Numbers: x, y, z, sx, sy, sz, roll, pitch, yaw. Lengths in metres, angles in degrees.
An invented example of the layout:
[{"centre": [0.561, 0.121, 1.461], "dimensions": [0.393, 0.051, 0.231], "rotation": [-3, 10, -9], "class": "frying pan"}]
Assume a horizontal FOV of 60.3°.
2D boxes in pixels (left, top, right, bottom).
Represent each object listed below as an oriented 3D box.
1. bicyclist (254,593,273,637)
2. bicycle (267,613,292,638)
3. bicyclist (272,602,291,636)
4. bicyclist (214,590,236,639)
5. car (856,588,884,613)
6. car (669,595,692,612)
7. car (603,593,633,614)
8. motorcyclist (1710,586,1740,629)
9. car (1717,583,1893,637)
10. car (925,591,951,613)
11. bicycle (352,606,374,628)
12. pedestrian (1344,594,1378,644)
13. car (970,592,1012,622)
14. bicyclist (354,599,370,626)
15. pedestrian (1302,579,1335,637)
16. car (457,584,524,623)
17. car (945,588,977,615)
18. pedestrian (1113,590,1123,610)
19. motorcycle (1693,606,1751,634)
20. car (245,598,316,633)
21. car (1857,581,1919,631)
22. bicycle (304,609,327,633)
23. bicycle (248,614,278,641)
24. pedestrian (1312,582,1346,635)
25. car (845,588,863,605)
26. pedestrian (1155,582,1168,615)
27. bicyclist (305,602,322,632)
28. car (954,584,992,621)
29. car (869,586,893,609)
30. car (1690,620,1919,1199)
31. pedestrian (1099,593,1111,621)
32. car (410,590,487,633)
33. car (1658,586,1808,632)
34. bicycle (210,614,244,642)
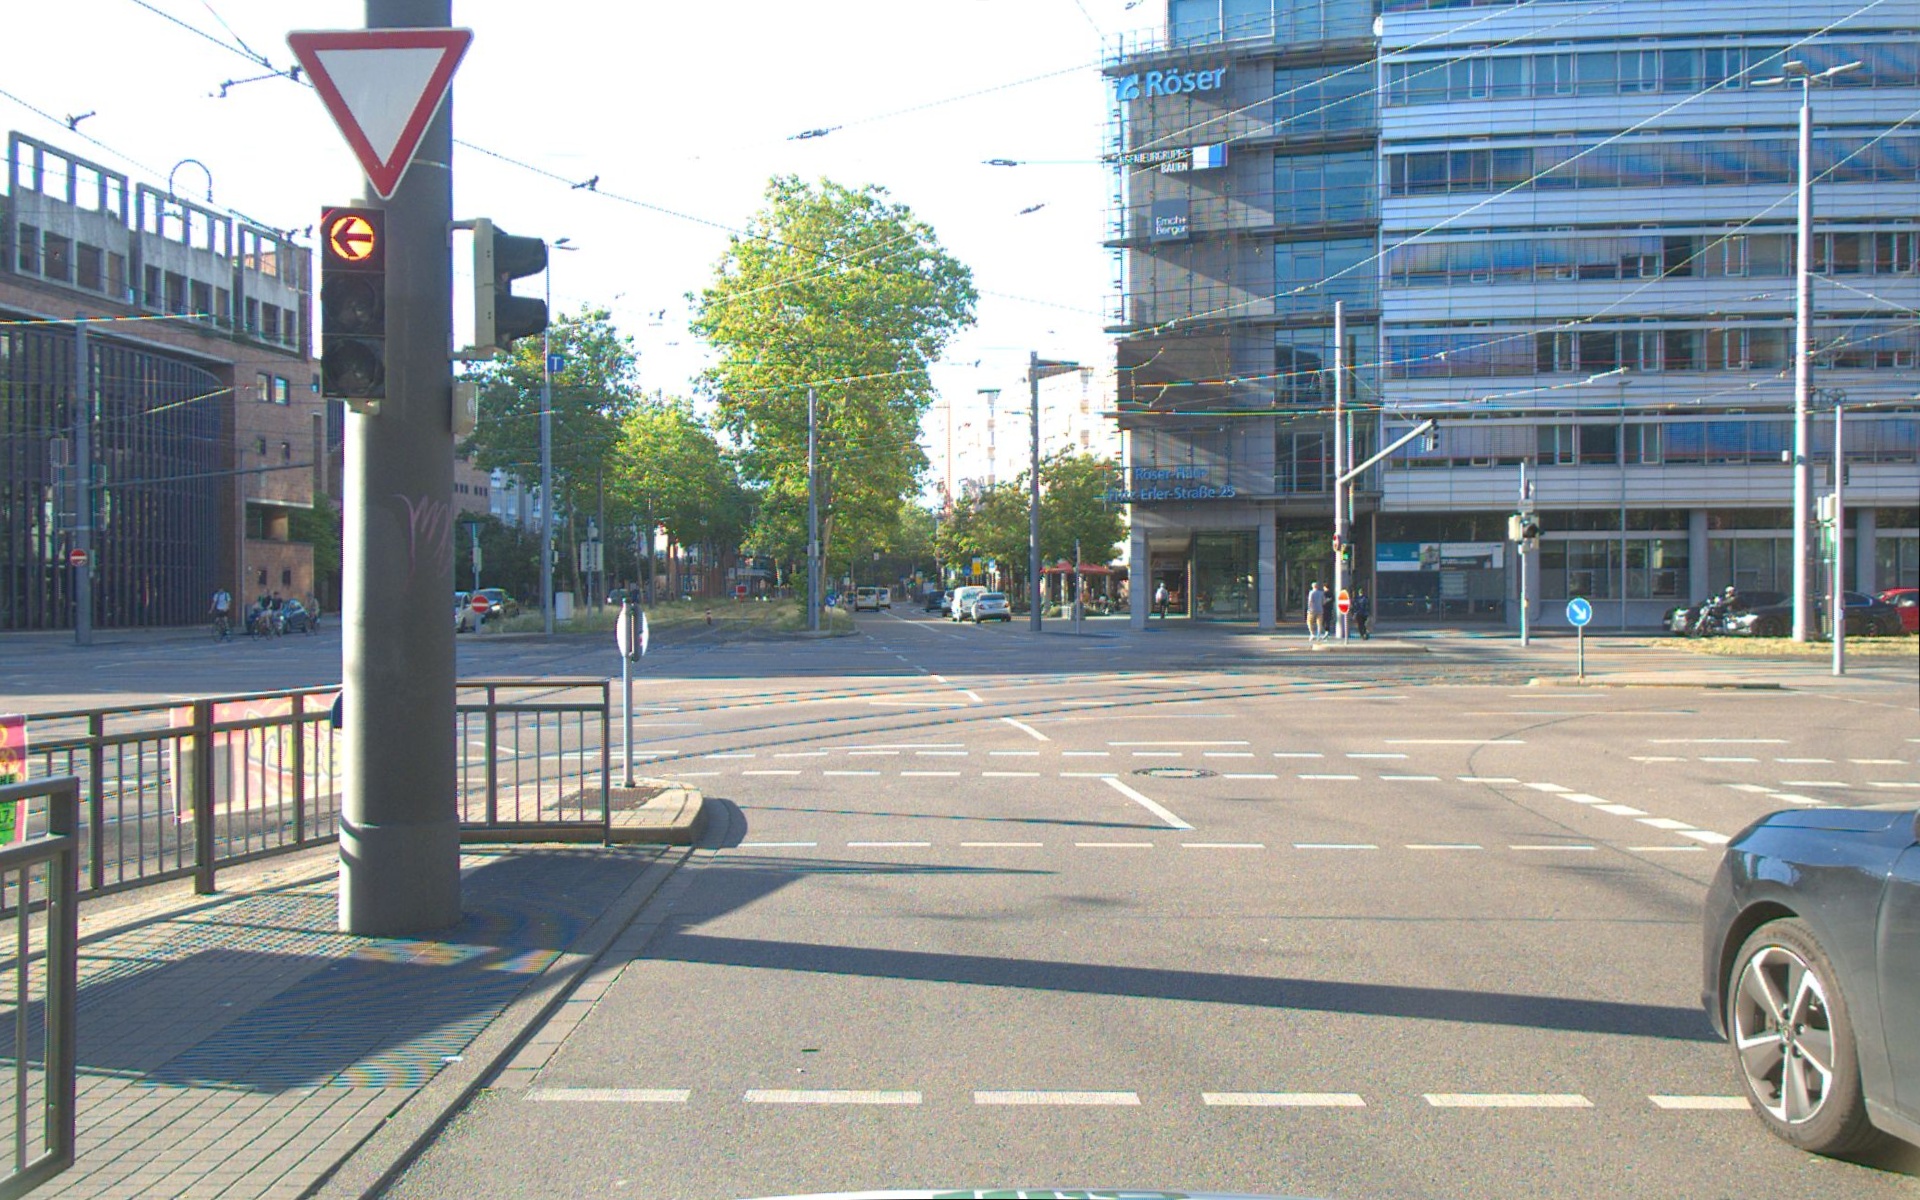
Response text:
[{"centre": [-25.809, 0.547, 61.328], "dimensions": [0.449, 1.631, 0.581], "rotation": [-1, 0, -1], "class": "bicyclist"}, {"centre": [-27.347, 1.028, 66.504], "dimensions": [0.458, 0.980, 1.320], "rotation": [-1, 0, -1], "class": "bicycle"}, {"centre": [-27.322, 0.762, 66.590], "dimensions": [0.495, 1.327, 0.581], "rotation": [-1, 0, -1], "class": "bicyclist"}, {"centre": [-26.873, 0.520, 60.463], "dimensions": [0.525, 1.761, 0.581], "rotation": [-1, 0, -1], "class": "bicyclist"}, {"centre": [-6.970, 0.012, 129.092], "dimensions": [1.921, 1.881, 5.329], "rotation": [-1, 0, -1], "class": "car"}, {"centre": [-31.289, 0.423, 185.472], "dimensions": [1.953, 1.847, 3.999], "rotation": [-1, 0, -1], "class": "car"}, {"centre": [-30.610, 0.308, 148.167], "dimensions": [1.953, 1.847, 3.999], "rotation": [-1, 0, -1], "class": "car"}, {"centre": [23.036, 0.226, 49.811], "dimensions": [0.697, 1.298, 0.460], "rotation": [-1, 0, 3], "class": "motorcyclist"}, {"centre": [23.991, 0.274, 47.069], "dimensions": [4.070, 1.423, 1.786], "rotation": [-1, 0, 4], "class": "car"}, {"centre": [-1.681, 0.133, 126.629], "dimensions": [1.953, 1.646, 3.999], "rotation": [-1, 0, -1], "class": "car"}, {"centre": [-27.585, 0.767, 76.379], "dimensions": [0.482, 0.980, 1.486], "rotation": [-1, 0, -1], "class": "bicycle"}, {"centre": [13.090, 0.607, 54.029], "dimensions": [0.928, 1.591, 0.897], "rotation": [-1, 0, 6], "class": "pedestrian"}, {"centre": [1.536, 0.337, 82.784], "dimensions": [1.953, 1.400, 3.999], "rotation": [-1, 0, -1], "class": "car"}, {"centre": [-27.555, 0.554, 76.212], "dimensions": [0.495, 1.232, 0.581], "rotation": [-1, 0, -1], "class": "bicyclist"}, {"centre": [11.458, 0.248, 52.843], "dimensions": [0.846, 1.820, 0.871], "rotation": [-1, 0, 0], "class": "pedestrian"}, {"centre": [-21.121, 0.148, 74.589], "dimensions": [1.953, 1.668, 3.999], "rotation": [-1, 0, -2], "class": "car"}, {"centre": [0.035, 0.072, 105.206], "dimensions": [1.953, 1.646, 3.999], "rotation": [-1, 0, -1], "class": "car"}, {"centre": [10.511, -0.013, 110.209], "dimensions": [0.565, 1.311, 0.910], "rotation": [-1, 0, -1], "class": "pedestrian"}, {"centre": [22.940, 0.606, 49.806], "dimensions": [1.535, 0.824, 0.467], "rotation": [-1, 0, 3], "class": "motorcycle"}, {"centre": [-30.309, 0.666, 73.877], "dimensions": [1.633, 1.461, 3.999], "rotation": [-1, 0, -2], "class": "car"}, {"centre": [29.317, 0.125, 49.524], "dimensions": [3.903, 1.418, 1.786], "rotation": [-2, 0, 4], "class": "car"}, {"centre": [-27.042, 0.872, 69.385], "dimensions": [0.442, 0.980, 1.347], "rotation": [-1, 0, -1], "class": "bicycle"}, {"centre": [-25.814, 1.008, 61.294], "dimensions": [0.463, 0.980, 1.575], "rotation": [-1, 0, -1], "class": "bicycle"}, {"centre": [12.060, 0.273, 54.069], "dimensions": [0.893, 1.714, 1.035], "rotation": [-1, 0, 4], "class": "pedestrian"}, {"centre": [-12.639, -0.404, 197.508], "dimensions": [1.953, 2.049, 3.999], "rotation": [-1, 0, -1], "class": "car"}, {"centre": [9.535, -0.061, 78.239], "dimensions": [0.599, 1.534, 0.579], "rotation": [-1, 0, 6], "class": "pedestrian"}, {"centre": [-27.031, 0.709, 69.183], "dimensions": [0.495, 1.199, 0.581], "rotation": [-1, 0, -1], "class": "bicyclist"}, {"centre": [0.687, 0.117, 89.569], "dimensions": [1.953, 1.892, 3.999], "rotation": [-1, 0, -1], "class": "car"}, {"centre": [-6.993, -0.212, 146.184], "dimensions": [1.953, 1.945, 3.999], "rotation": [-1, 0, -1], "class": "car"}, {"centre": [3.277, 0.803, 3.145], "dimensions": [1.704, 1.439, 4.268], "rotation": [1, 0, -3], "class": "car"}, {"centre": [9.217, 0.453, 105.171], "dimensions": [0.729, 1.744, 0.612], "rotation": [-1, 0, -1], "class": "pedestrian"}, {"centre": [-20.668, 0.448, 67.031], "dimensions": [1.953, 1.668, 3.999], "rotation": [-1, 0, -2], "class": "car"}, {"centre": [25.397, 0.295, 54.442], "dimensions": [4.070, 1.423, 1.786], "rotation": [-1, 0, 4], "class": "car"}, {"centre": [-26.859, 1.022, 60.603], "dimensions": [0.531, 0.980, 1.586], "rotation": [-1, 0, -1], "class": "bicycle"}]
